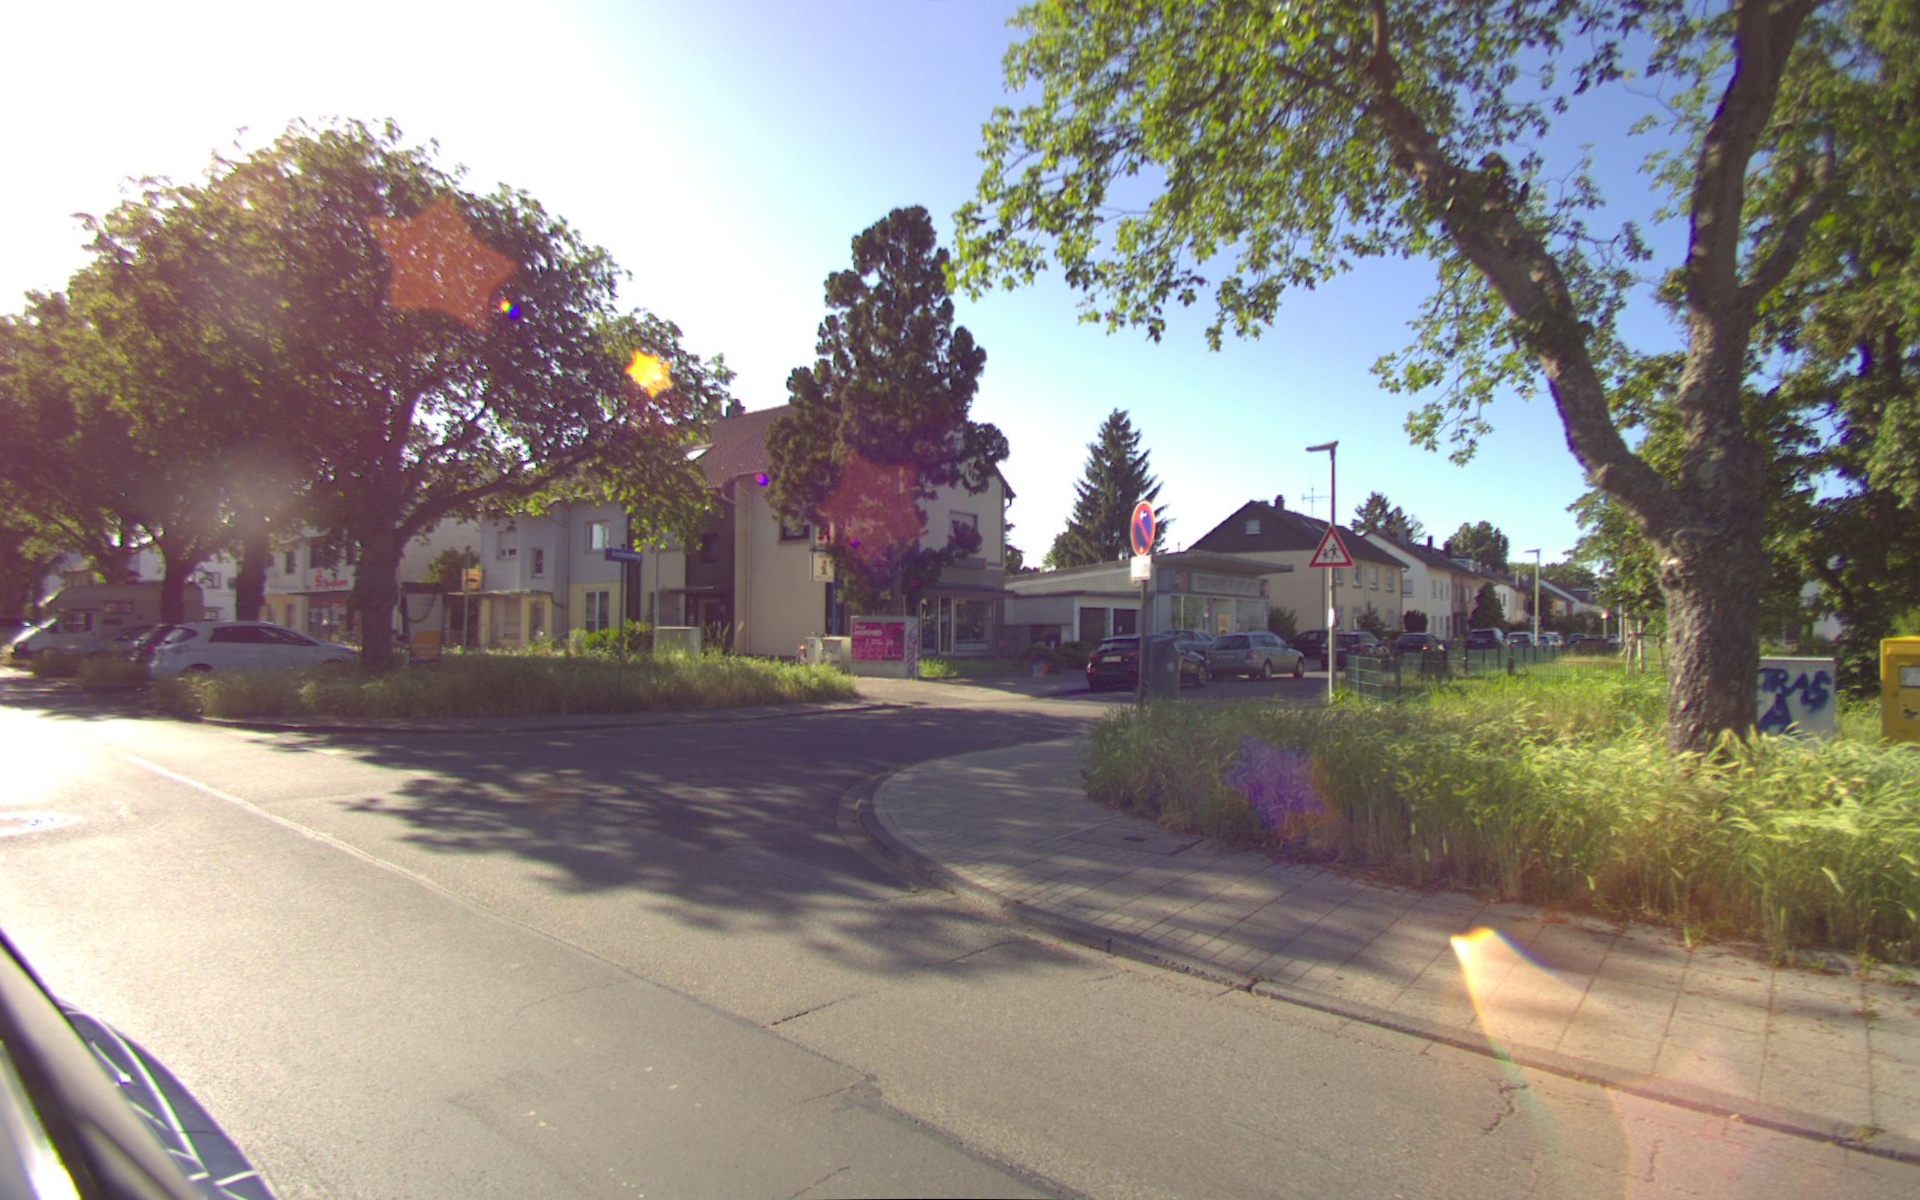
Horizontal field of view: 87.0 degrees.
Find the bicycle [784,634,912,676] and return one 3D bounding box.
[{"bbox_3d":[-3.372,1.626,30.236,4.033,1.185,0.700,-1,-2,25],"label":"bicycle"}]

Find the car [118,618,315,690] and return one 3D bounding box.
[{"bbox_3d":[-20.180,1.387,27.578,1.998,1.601,3.947,-1,2,40],"label":"car"}]

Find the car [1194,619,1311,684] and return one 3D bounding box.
[{"bbox_3d":[9.049,1.519,31.140,1.999,1.834,3.946,-1,-2,41],"label":"car"}]

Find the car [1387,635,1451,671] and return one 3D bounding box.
[{"bbox_3d":[21.301,2.409,46.885,1.818,1.551,3.818,-1,-2,39],"label":"car"}]

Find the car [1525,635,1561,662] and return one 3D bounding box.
[{"bbox_3d":[45.577,3.745,79.061,1.996,2.029,3.950,-1,-2,36],"label":"car"}]

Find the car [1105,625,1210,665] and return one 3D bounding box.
[{"bbox_3d":[7.903,1.759,40.559,3.754,1.530,1.781,-1,-2,38],"label":"car"}]

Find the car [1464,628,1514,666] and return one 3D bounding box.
[{"bbox_3d":[32.141,2.812,61.455,1.997,1.962,3.950,-1,2,38],"label":"car"}]

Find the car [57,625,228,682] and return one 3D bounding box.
[{"bbox_3d":[-26.219,1.658,32.565,1.998,1.469,3.948,-1,2,39],"label":"car"}]

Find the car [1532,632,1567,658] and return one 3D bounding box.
[{"bbox_3d":[48.275,3.651,82.829,1.996,2.029,3.950,-1,-2,36],"label":"car"}]

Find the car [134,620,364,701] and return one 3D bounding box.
[{"bbox_3d":[-16.111,1.296,23.079,1.965,1.673,3.947,-2,-2,40],"label":"car"}]

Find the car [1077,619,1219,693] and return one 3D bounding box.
[{"bbox_3d":[4.835,1.348,25.716,1.821,1.727,3.946,-1,-2,41],"label":"car"}]

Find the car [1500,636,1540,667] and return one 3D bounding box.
[{"bbox_3d":[39.882,3.634,72.035,1.996,2.029,3.950,-1,-2,36],"label":"car"}]

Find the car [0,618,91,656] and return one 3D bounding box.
[{"bbox_3d":[-48.802,1.921,52.737,1.997,1.741,5.015,-1,2,37],"label":"car"}]

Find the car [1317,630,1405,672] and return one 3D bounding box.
[{"bbox_3d":[15.601,1.928,39.303,1.999,1.551,3.945,-1,-2,41],"label":"car"}]

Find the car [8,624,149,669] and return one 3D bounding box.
[{"bbox_3d":[-33.679,1.739,38.748,1.640,1.460,3.942,0,1,44],"label":"car"}]

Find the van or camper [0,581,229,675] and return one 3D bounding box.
[{"bbox_3d":[-28.528,0.839,34.305,2.000,2.826,5.714,-1,2,43],"label":"van or camper"}]

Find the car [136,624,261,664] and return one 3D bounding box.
[{"bbox_3d":[-32.751,1.839,43.616,1.866,1.554,3.952,-1,0,35],"label":"car"}]
